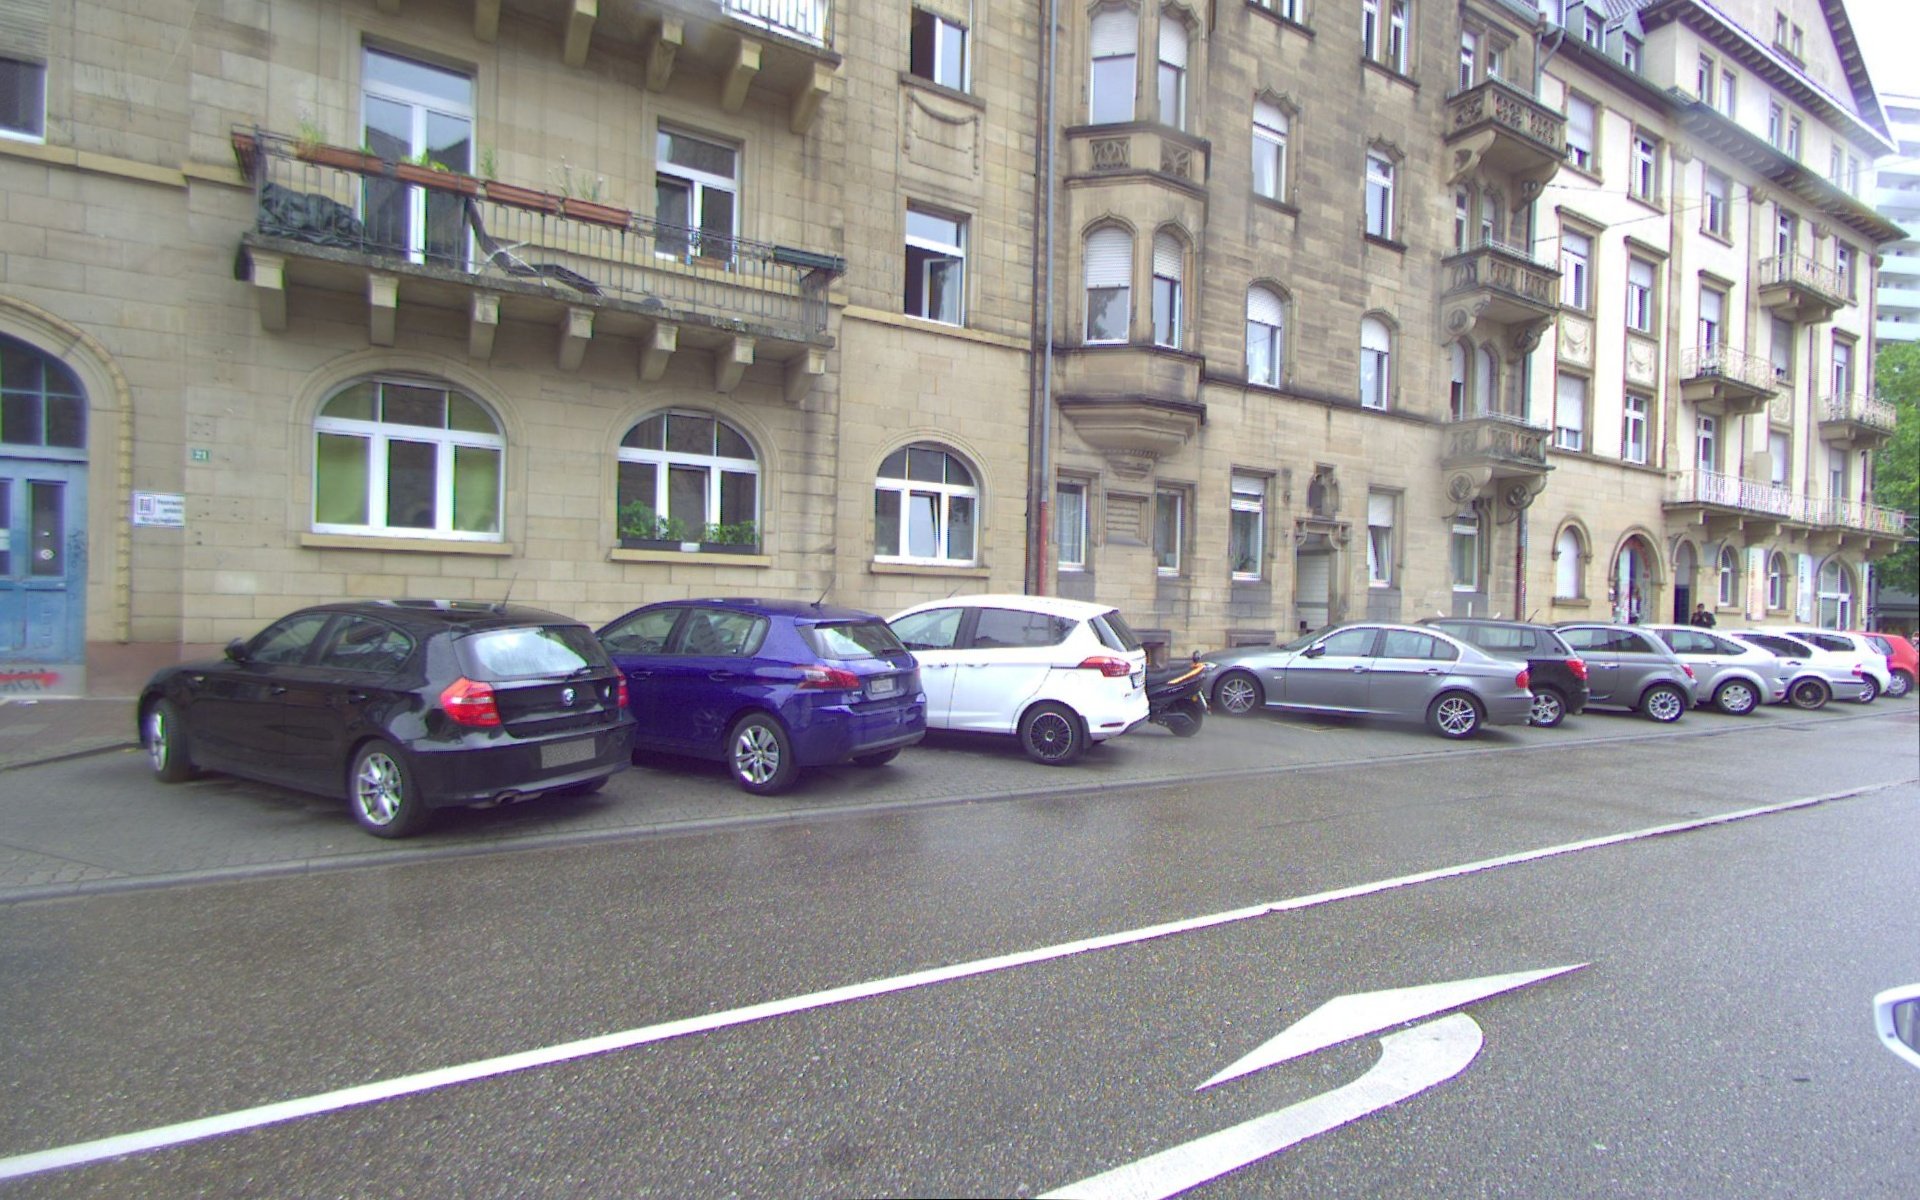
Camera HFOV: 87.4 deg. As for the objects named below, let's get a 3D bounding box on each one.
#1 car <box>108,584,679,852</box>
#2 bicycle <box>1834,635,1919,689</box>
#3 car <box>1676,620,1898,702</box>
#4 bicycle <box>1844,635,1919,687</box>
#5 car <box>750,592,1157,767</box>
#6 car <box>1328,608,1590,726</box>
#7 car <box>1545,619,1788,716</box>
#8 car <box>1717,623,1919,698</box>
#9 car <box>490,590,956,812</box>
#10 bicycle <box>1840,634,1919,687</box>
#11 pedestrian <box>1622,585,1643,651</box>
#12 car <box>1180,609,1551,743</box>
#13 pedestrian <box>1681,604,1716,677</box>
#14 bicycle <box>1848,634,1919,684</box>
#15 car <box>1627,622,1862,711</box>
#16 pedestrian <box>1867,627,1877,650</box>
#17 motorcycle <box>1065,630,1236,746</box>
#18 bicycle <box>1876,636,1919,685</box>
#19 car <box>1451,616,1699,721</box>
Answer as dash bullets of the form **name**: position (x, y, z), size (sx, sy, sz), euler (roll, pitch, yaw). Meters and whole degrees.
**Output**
- **car**: position (-4.246, 0.684, 7.482), size (3.969, 1.532, 1.797), euler (1, -1, 27)
- **bicycle**: position (23.487, 1.550, 25.611), size (0.516, 1.283, 1.754), euler (1, -1, -31)
- **car**: position (17.938, 1.279, 21.975), size (3.337, 1.578, 1.705), euler (1, 0, 21)
- **bicycle**: position (24.459, 1.579, 26.363), size (0.492, 1.283, 1.801), euler (1, -1, -31)
- **car**: position (-0.031, 0.744, 10.745), size (3.964, 1.576, 1.799), euler (1, -1, 20)
- **car**: position (7.659, 0.975, 15.751), size (3.484, 1.619, 1.605), euler (1, 0, 21)
- **car**: position (12.952, 1.186, 18.660), size (3.337, 1.578, 1.705), euler (1, 0, 21)
- **car**: position (20.207, 1.371, 23.725), size (3.337, 1.578, 1.705), euler (1, 0, 21)
- **car**: position (-2.206, 0.743, 9.097), size (3.972, 1.594, 1.795), euler (1, -1, 31)
- **bicycle**: position (23.943, 1.554, 25.904), size (0.492, 1.283, 1.801), euler (1, -1, -31)
- **pedestrian**: position (19.074, 0.503, 28.492), size (0.343, 1.846, 0.364), euler (2, -1, -32)
- **car**: position (5.400, 0.954, 13.877), size (4.457, 1.565, 1.689), euler (1, 0, 17)
- **pedestrian**: position (20.996, 1.145, 28.561), size (0.647, 2.040, 0.565), euler (1, 0, -30)
- **bicycle**: position (25.207, 1.587, 27.110), size (0.601, 1.283, 1.754), euler (1, -1, -31)
- **car**: position (15.660, 1.285, 20.260), size (3.337, 1.578, 1.705), euler (1, 0, 21)
- **pedestrian**: position (61.120, 2.564, 67.323), size (0.638, 1.550, 0.438), euler (1, 0, -42)
- **motorcycle**: position (2.248, 1.001, 11.871), size (1.837, 1.177, 0.633), euler (3, 1, 23)
- **bicycle**: position (26.118, 1.653, 27.256), size (0.601, 1.283, 1.754), euler (1, -1, -31)
- **car**: position (10.353, 1.098, 17.180), size (3.337, 1.578, 1.652), euler (1, 0, 21)
